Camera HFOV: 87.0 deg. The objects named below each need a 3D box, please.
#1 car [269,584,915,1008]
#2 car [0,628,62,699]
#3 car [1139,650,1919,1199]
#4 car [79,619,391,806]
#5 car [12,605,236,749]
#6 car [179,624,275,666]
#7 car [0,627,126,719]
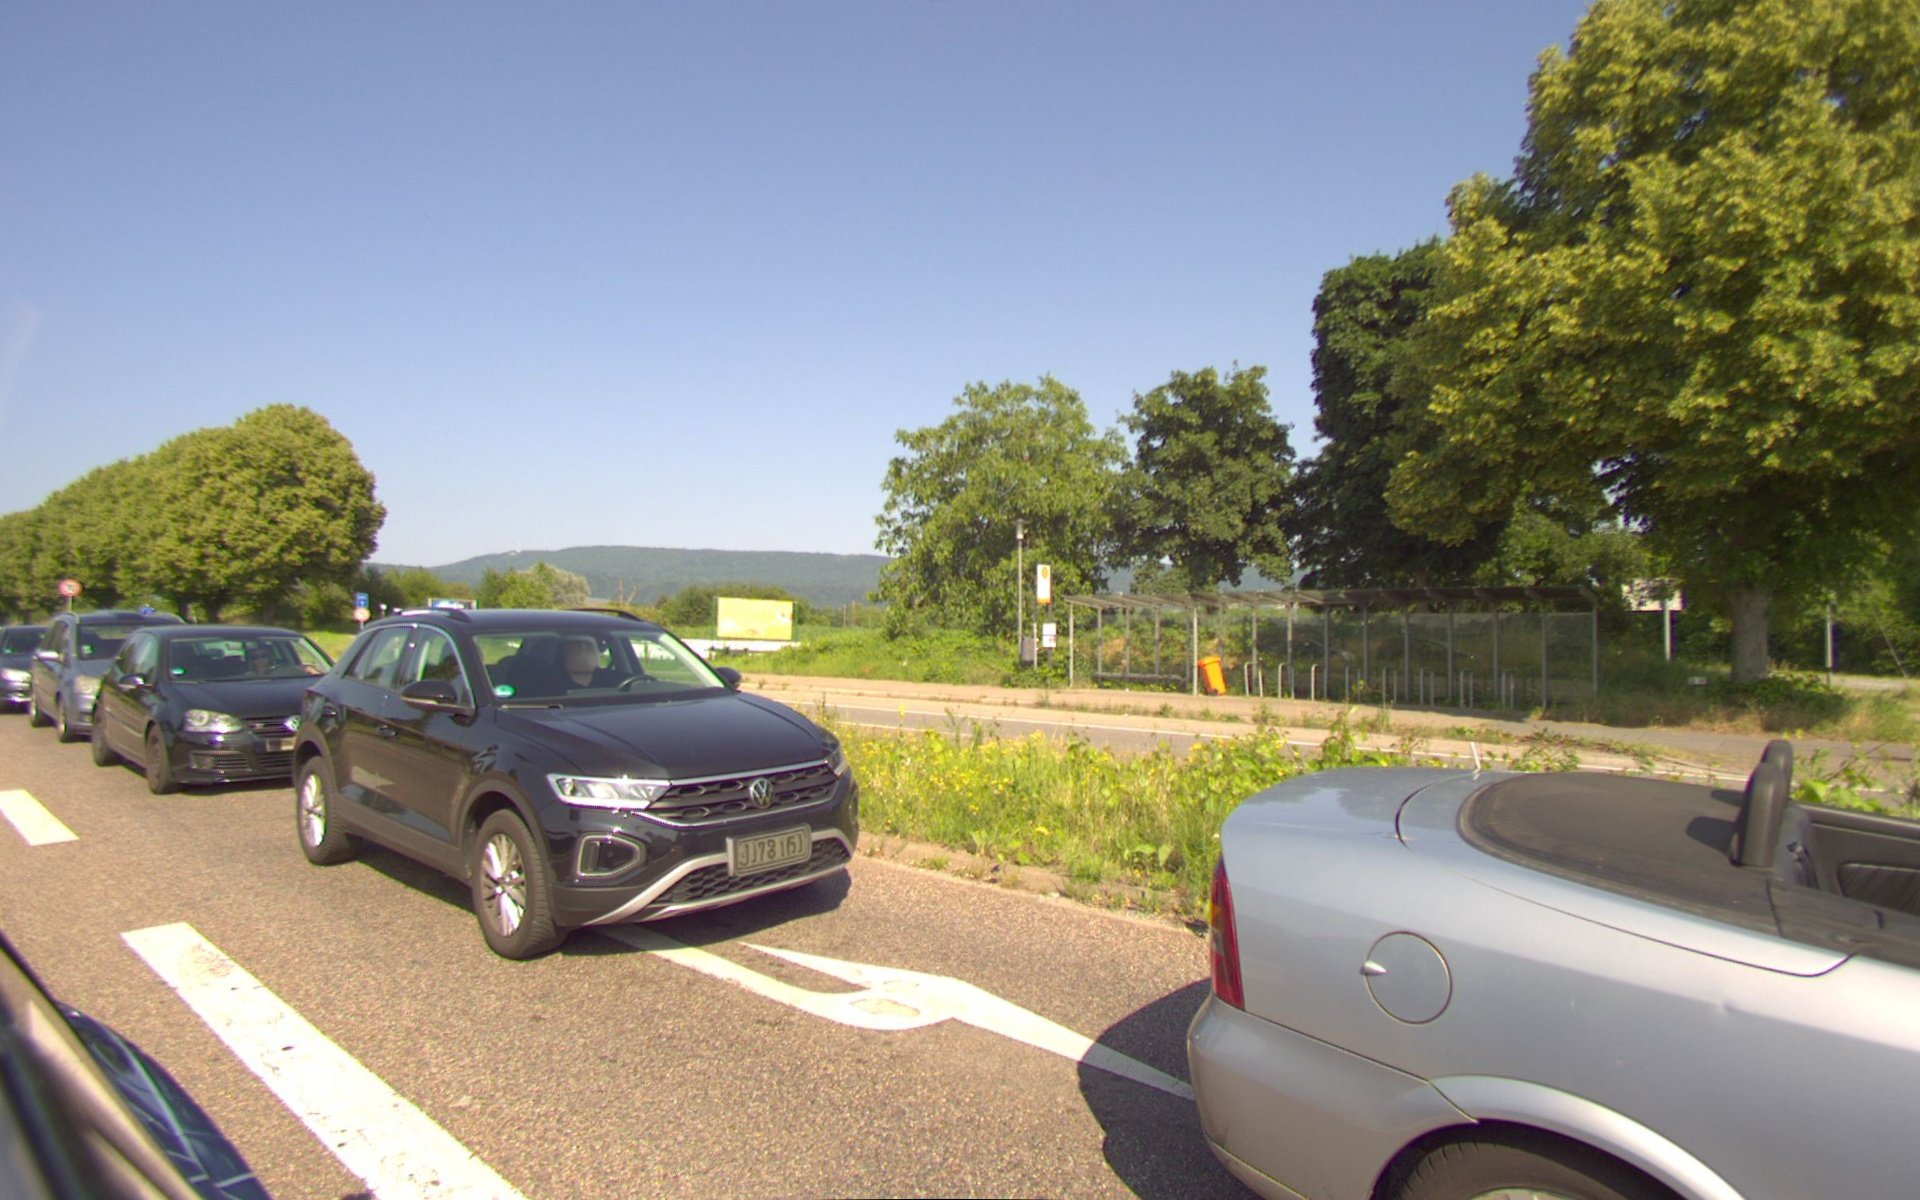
[{"bbox_3d":[-2.314,0.778,5.753,4.096,1.559,1.710,-2,-2,42],"label":"car"},{"bbox_3d":[-21.374,1.347,22.323,4.639,1.436,1.784,-1,-1,41],"label":"car"},{"bbox_3d":[2.454,0.778,1.426,4.096,1.345,1.656,-1,-3,42],"label":"car"},{"bbox_3d":[-7.314,0.949,10.057,4.096,1.486,1.648,-2,-2,42],"label":"car"},{"bbox_3d":[-11.585,0.951,13.917,4.355,1.685,1.723,-2,-2,42],"label":"car"},{"bbox_3d":[-28.753,1.758,39.651,4.141,1.527,1.865,-1,-4,37],"label":"car"},{"bbox_3d":[-16.162,1.199,17.769,4.353,1.421,1.696,-1,-2,42],"label":"car"}]
